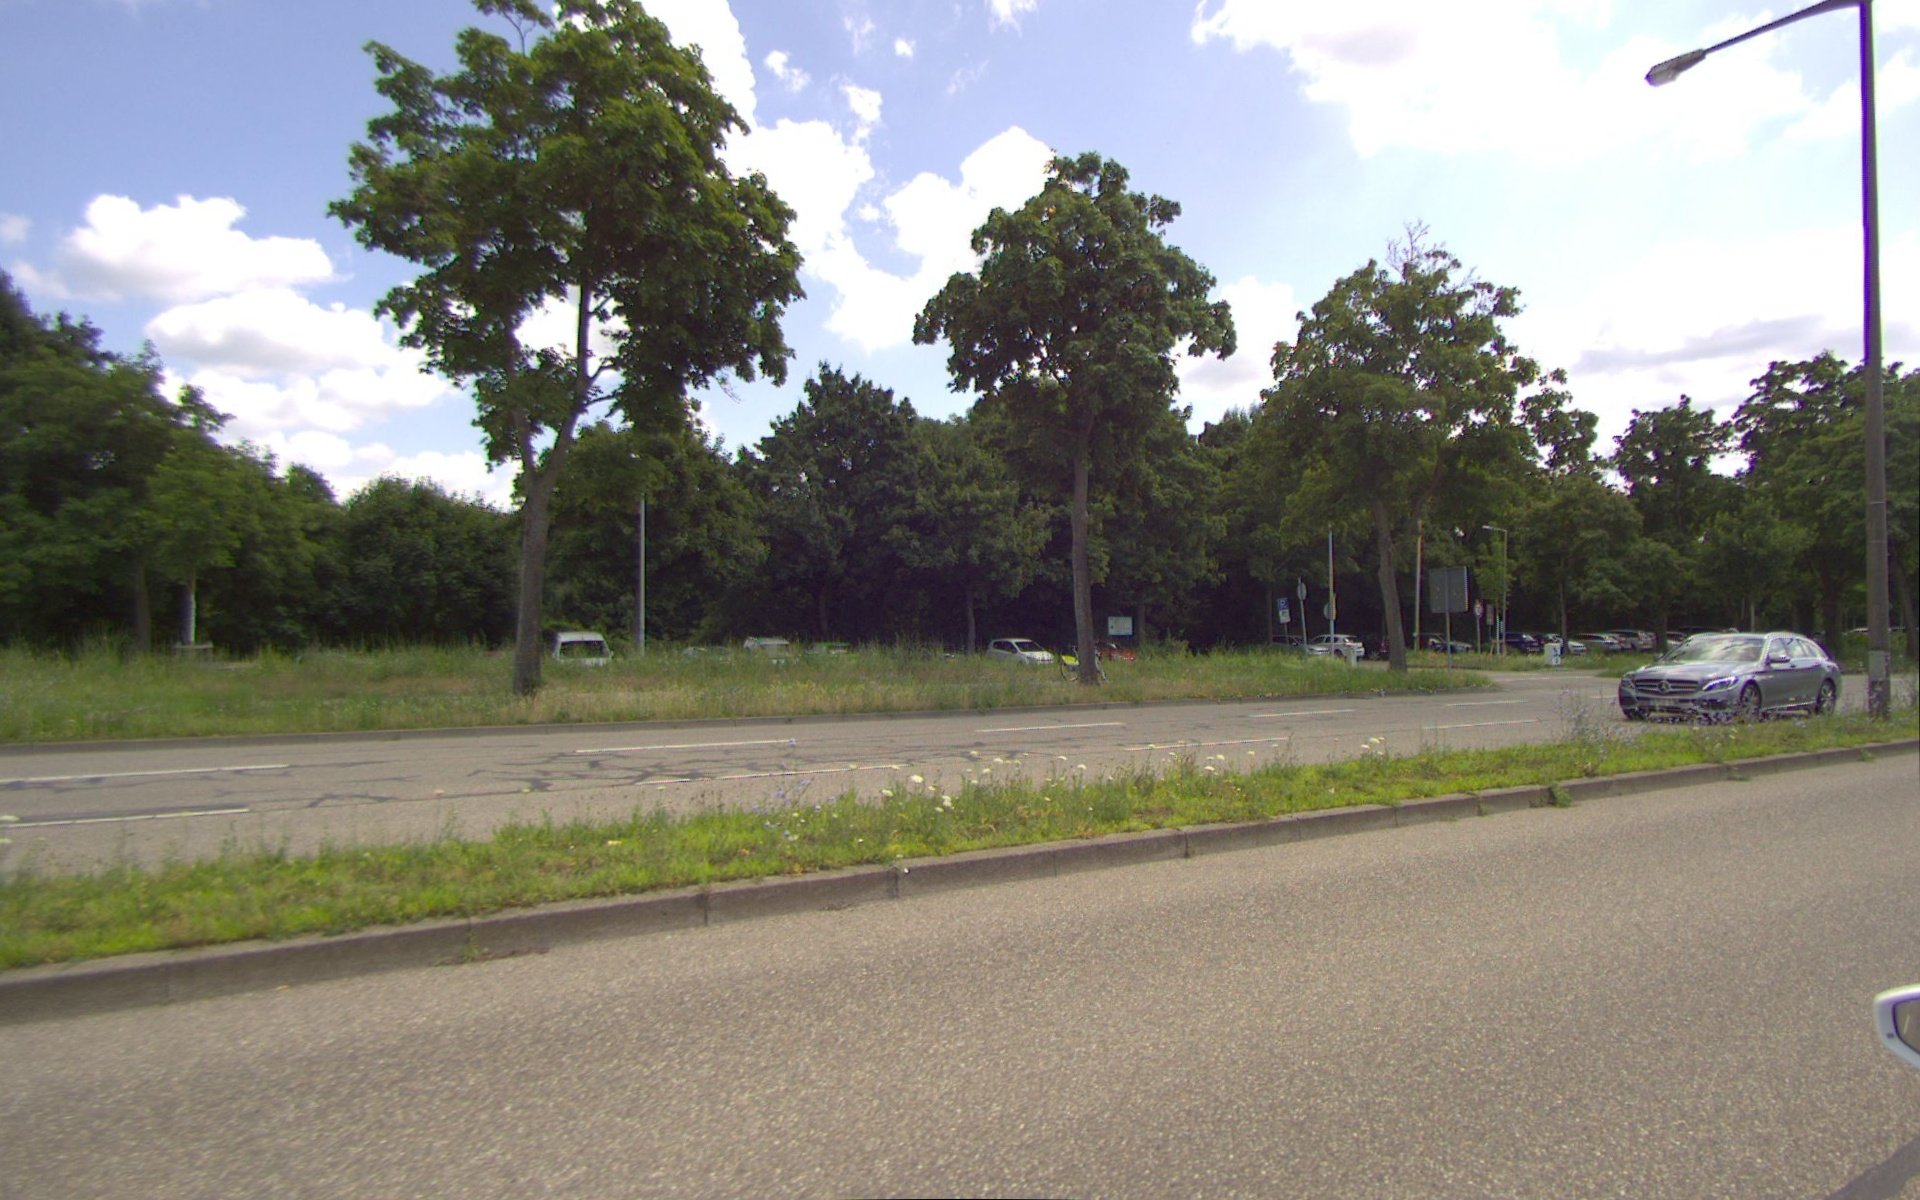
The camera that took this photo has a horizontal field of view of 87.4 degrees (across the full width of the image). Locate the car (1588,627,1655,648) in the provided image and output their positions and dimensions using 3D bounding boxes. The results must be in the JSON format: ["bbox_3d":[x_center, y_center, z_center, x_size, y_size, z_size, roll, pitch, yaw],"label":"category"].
[{"bbox_3d":[49.280,2.792,74.902,1.762,1.406,3.772,0,0,-26],"label":"car"}]

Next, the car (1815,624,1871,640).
[{"bbox_3d":[86.287,3.132,98.162,1.762,1.406,3.772,0,0,-26],"label":"car"}]

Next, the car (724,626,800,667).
[{"bbox_3d":[-8.534,1.954,43.144,1.978,1.539,3.966,0,0,-32],"label":"car"}]

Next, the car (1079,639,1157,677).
[{"bbox_3d":[7.388,2.681,47.307,1.763,1.528,3.769,0,0,-28],"label":"car"}]

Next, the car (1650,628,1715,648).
[{"bbox_3d":[56.550,2.959,78.684,1.762,1.406,3.772,0,0,-26],"label":"car"}]

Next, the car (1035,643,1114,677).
[{"bbox_3d":[5.129,2.684,45.379,1.763,1.284,3.769,0,0,-28],"label":"car"}]

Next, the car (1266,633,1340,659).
[{"bbox_3d":[19.188,2.551,56.380,1.763,1.264,3.769,0,0,-28],"label":"car"}]

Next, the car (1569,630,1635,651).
[{"bbox_3d":[47.003,2.943,73.586,1.761,1.406,3.774,0,0,-25],"label":"car"}]

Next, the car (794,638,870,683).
[{"bbox_3d":[-5.170,2.378,40.186,1.677,1.559,3.560,0,0,-32],"label":"car"}]

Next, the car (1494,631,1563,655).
[{"bbox_3d":[38.555,2.900,68.256,1.762,1.406,3.772,0,0,-26],"label":"car"}]

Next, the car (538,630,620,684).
[{"bbox_3d":[-13.396,1.928,35.179,1.978,1.647,3.966,0,0,-32],"label":"car"}]

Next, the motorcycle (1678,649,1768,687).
[{"bbox_3d":[18.122,1.591,23.824,2.640,0.782,0.748,0,0,-30],"label":"motorcycle"}]

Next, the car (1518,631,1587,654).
[{"bbox_3d":[40.941,2.930,69.444,1.762,1.406,3.772,0,0,-26],"label":"car"}]

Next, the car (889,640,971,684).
[{"bbox_3d":[-1.298,2.539,41.815,1.677,1.579,3.964,0,0,-32],"label":"car"}]

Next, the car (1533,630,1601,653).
[{"bbox_3d":[42.589,2.898,70.554,1.762,1.406,3.772,0,0,-26],"label":"car"}]

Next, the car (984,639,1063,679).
[{"bbox_3d":[2.770,2.562,44.506,1.763,1.528,3.769,0,0,-28],"label":"car"}]

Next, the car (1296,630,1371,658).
[{"bbox_3d":[21.364,2.491,57.544,1.764,1.447,3.767,0,0,-30],"label":"car"}]

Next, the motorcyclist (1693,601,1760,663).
[{"bbox_3d":[18.181,0.747,23.817,1.313,1.433,0.823,0,0,-30],"label":"motorcyclist"}]

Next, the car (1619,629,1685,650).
[{"bbox_3d":[52.647,2.972,76.485,1.762,1.406,3.772,0,0,-26],"label":"car"}]

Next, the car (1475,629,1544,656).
[{"bbox_3d":[36.450,2.794,66.711,1.762,1.589,3.772,0,0,-26],"label":"car"}]

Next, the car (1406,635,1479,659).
[{"bbox_3d":[30.106,2.923,62.745,1.764,1.264,3.767,0,0,-30],"label":"car"}]

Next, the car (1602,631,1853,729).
[{"bbox_3d":[13.217,1.277,17.222,4.678,1.417,1.802,0,-1,-31],"label":"car"}]

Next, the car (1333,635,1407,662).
[{"bbox_3d":[24.033,2.800,58.942,1.764,1.405,3.767,0,0,-30],"label":"car"}]

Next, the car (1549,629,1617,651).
[{"bbox_3d":[44.499,2.807,71.846,1.762,1.406,3.772,0,0,-26],"label":"car"}]

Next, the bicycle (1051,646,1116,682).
[{"bbox_3d":[3.512,1.803,28.436,1.895,0.991,0.564,1,-2,-31],"label":"bicycle"}]
